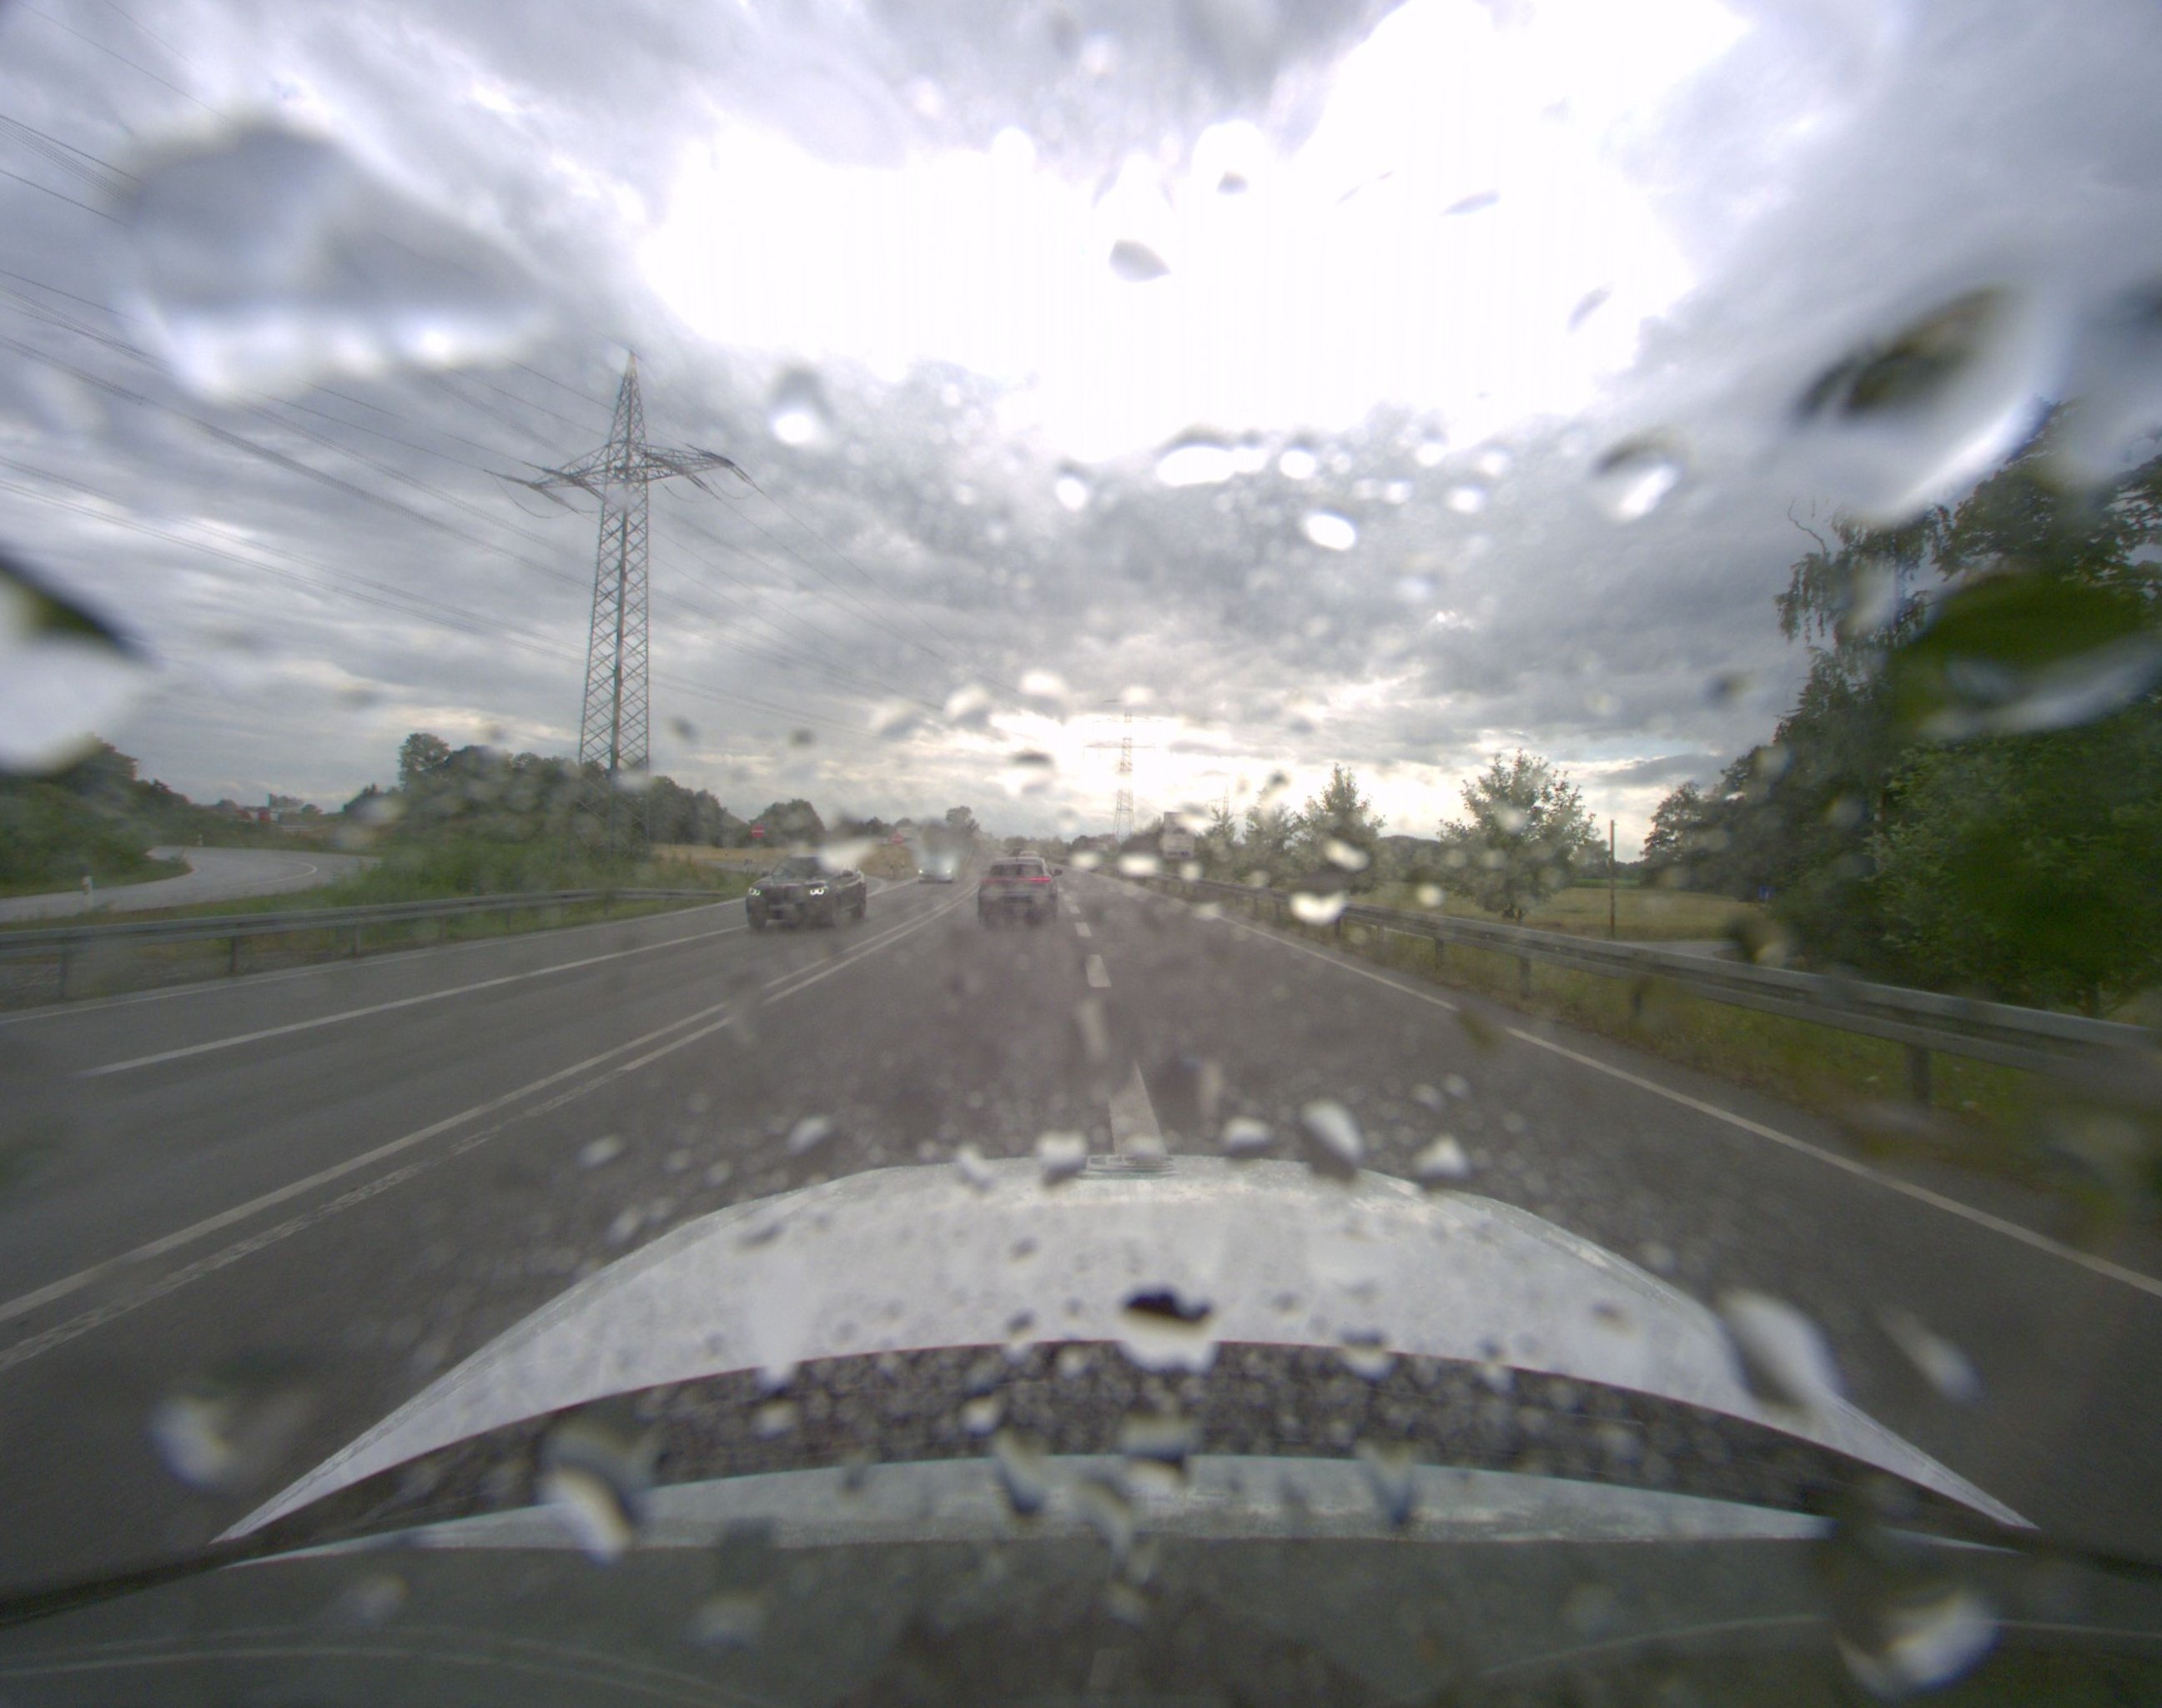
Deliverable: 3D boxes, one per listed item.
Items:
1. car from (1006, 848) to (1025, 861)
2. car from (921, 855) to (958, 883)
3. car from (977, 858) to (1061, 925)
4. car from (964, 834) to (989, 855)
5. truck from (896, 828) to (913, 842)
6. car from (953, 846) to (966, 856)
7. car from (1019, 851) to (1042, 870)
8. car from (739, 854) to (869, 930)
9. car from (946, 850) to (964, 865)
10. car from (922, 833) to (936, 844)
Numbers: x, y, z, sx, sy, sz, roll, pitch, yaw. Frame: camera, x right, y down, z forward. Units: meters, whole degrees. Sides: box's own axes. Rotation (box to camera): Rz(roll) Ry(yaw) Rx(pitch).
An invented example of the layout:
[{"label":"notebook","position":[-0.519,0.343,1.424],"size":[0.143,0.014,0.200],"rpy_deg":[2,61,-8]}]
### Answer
[{"label":"car","position":[-8.211,0.015,101.787],"size":[1.794,1.541,3.980],"rpy_deg":[-1,0,-14]},{"label":"car","position":[-7.743,0.807,44.870],"size":[1.703,1.480,4.600],"rpy_deg":[0,-1,-6]},{"label":"car","position":[-1.434,0.874,19.704],"size":[1.787,1.441,3.995],"rpy_deg":[1,-2,-3]},{"label":"car","position":[-14.610,-1.272,113.316],"size":[2.577,2.725,7.161],"rpy_deg":[-1,0,-14]},{"label":"truck","position":[-43.639,-4.633,200.732],"size":[3.057,3.385,7.591],"rpy_deg":[0,0,-21]},{"label":"car","position":[-20.306,-0.492,136.157],"size":[1.793,1.688,3.983],"rpy_deg":[0,0,-13]},{"label":"car","position":[-4.011,0.496,64.210],"size":[1.788,1.441,3.993],"rpy_deg":[1,1,-5]},{"label":"car","position":[-6.418,0.810,19.379],"size":[1.796,1.575,4.254],"rpy_deg":[-1,0,-3]},{"label":"car","position":[-14.745,0.422,94.975],"size":[1.802,1.594,4.206],"rpy_deg":[0,-1,-13]},{"label":"car","position":[-33.236,-3.254,177.573],"size":[2.607,2.250,5.506],"rpy_deg":[0,0,-15]}]
